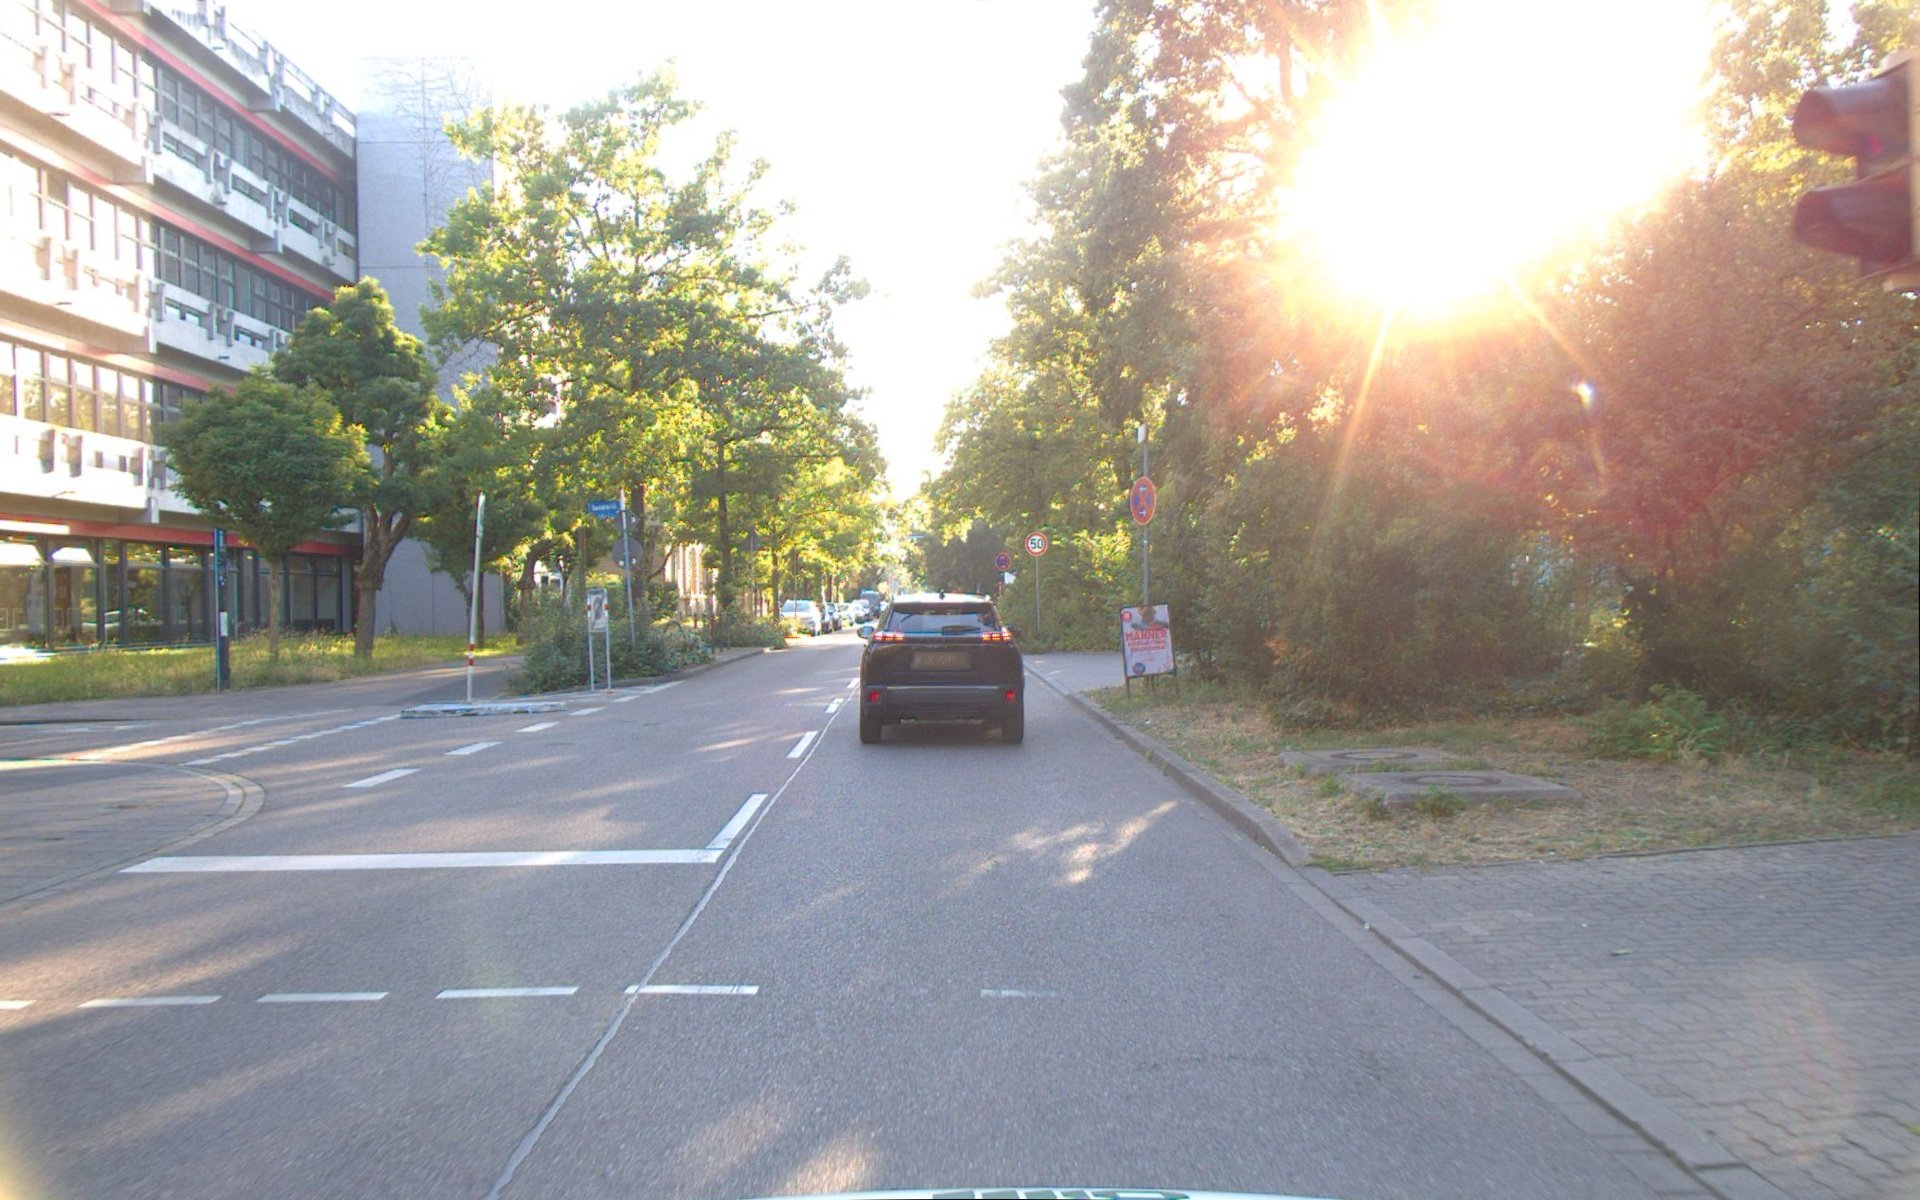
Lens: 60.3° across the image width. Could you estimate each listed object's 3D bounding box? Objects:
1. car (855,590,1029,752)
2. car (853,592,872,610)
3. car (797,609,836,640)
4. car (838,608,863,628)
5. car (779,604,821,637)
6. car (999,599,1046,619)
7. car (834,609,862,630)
[{"bbox_3d":[-0.263,0.706,18.289,1.733,1.596,3.378,-1,0,-3],"label":"car"},{"bbox_3d":[-10.457,0.080,178.306,1.868,1.900,3.948,-1,0,-1],"label":"car"},{"bbox_3d":[-6.906,1.181,79.485,1.775,1.378,3.996,-2,0,-5],"label":"car"},{"bbox_3d":[-8.164,1.343,123.356,1.775,1.378,3.996,-2,0,-5],"label":"car"},{"bbox_3d":[-7.084,0.872,73.237,1.775,1.378,3.995,-2,0,-6],"label":"car"},{"bbox_3d":[5.392,0.746,143.155,3.909,1.610,1.814,-2,0,-5],"label":"car"},{"bbox_3d":[-7.685,1.313,113.309,1.775,1.378,3.975,-2,0,-5],"label":"car"}]
